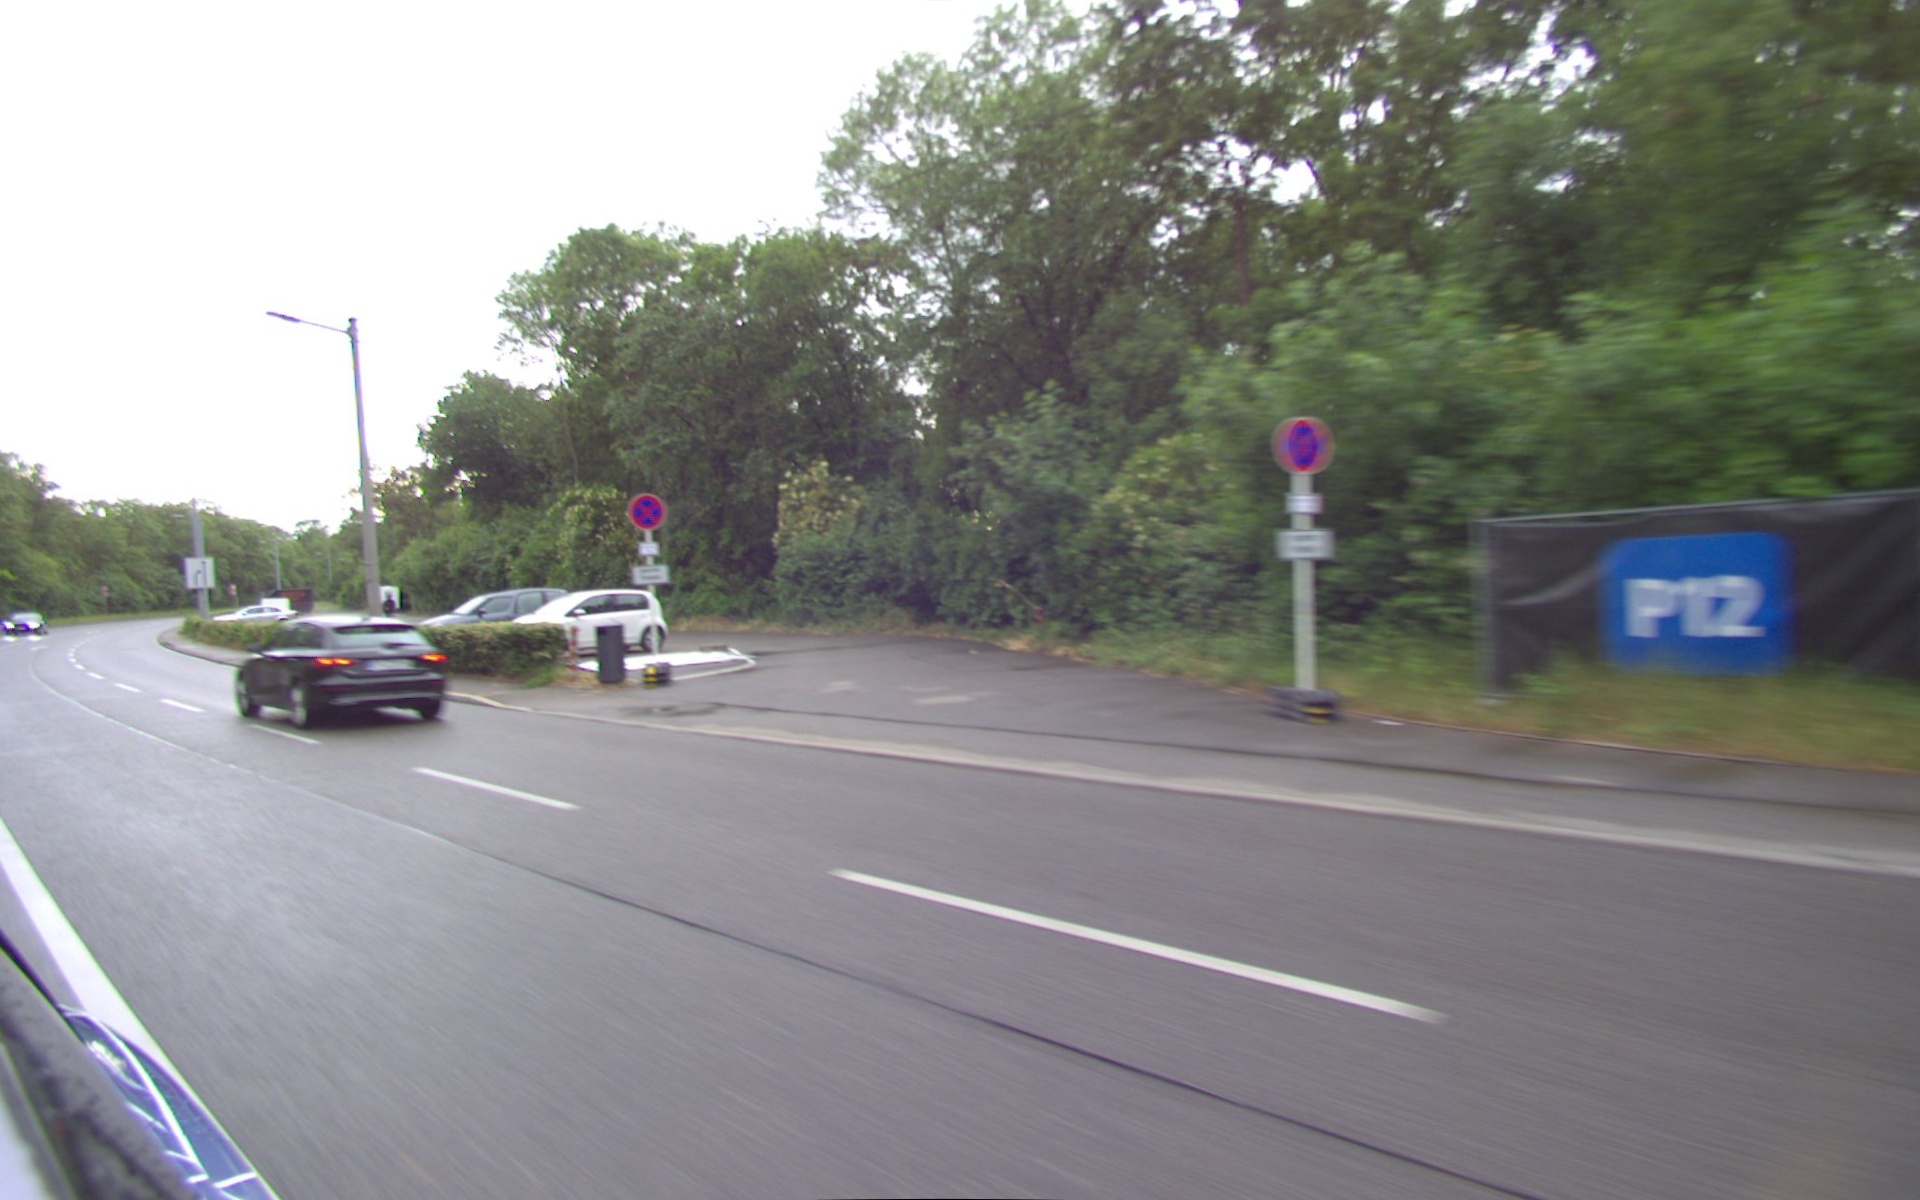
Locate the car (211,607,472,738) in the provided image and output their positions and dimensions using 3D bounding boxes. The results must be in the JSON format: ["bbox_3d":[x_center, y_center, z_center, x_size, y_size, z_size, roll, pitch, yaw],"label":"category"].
[{"bbox_3d":[-8.813,0.907,14.276,4.315,1.509,1.915,-1,1,41],"label":"car"}]

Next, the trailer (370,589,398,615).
[{"bbox_3d":[-65.295,0.198,114.674,2.442,2.895,8.000,-1,1,-32],"label":"trailer"}]

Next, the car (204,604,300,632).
[{"bbox_3d":[-43.307,1.066,61.935,4.522,1.517,2.002,-3,1,-44],"label":"car"}]

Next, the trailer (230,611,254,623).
[{"bbox_3d":[-67.834,1.578,95.647,1.777,1.042,1.337,-2,1,-36],"label":"trailer"}]

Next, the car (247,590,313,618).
[{"bbox_3d":[-79.842,0.433,118.949,6.186,3.136,2.760,-2,2,-32],"label":"car"}]

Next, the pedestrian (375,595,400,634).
[{"bbox_3d":[-27.354,0.672,48.350,0.807,1.811,1.137,-2,1,-42],"label":"pedestrian"}]

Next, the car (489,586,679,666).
[{"bbox_3d":[-8.541,0.542,23.155,1.851,1.603,3.606,-1,1,42],"label":"car"}]

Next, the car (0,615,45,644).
[{"bbox_3d":[-61.465,1.894,66.248,1.967,1.696,4.009,-1,1,-37],"label":"car"}]

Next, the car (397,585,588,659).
[{"bbox_3d":[-12.504,0.542,27.199,4.238,1.721,2.003,-3,1,-41],"label":"car"}]

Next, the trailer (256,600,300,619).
[{"bbox_3d":[-76.975,1.046,114.299,3.931,2.068,1.879,-1,1,-29],"label":"trailer"}]
